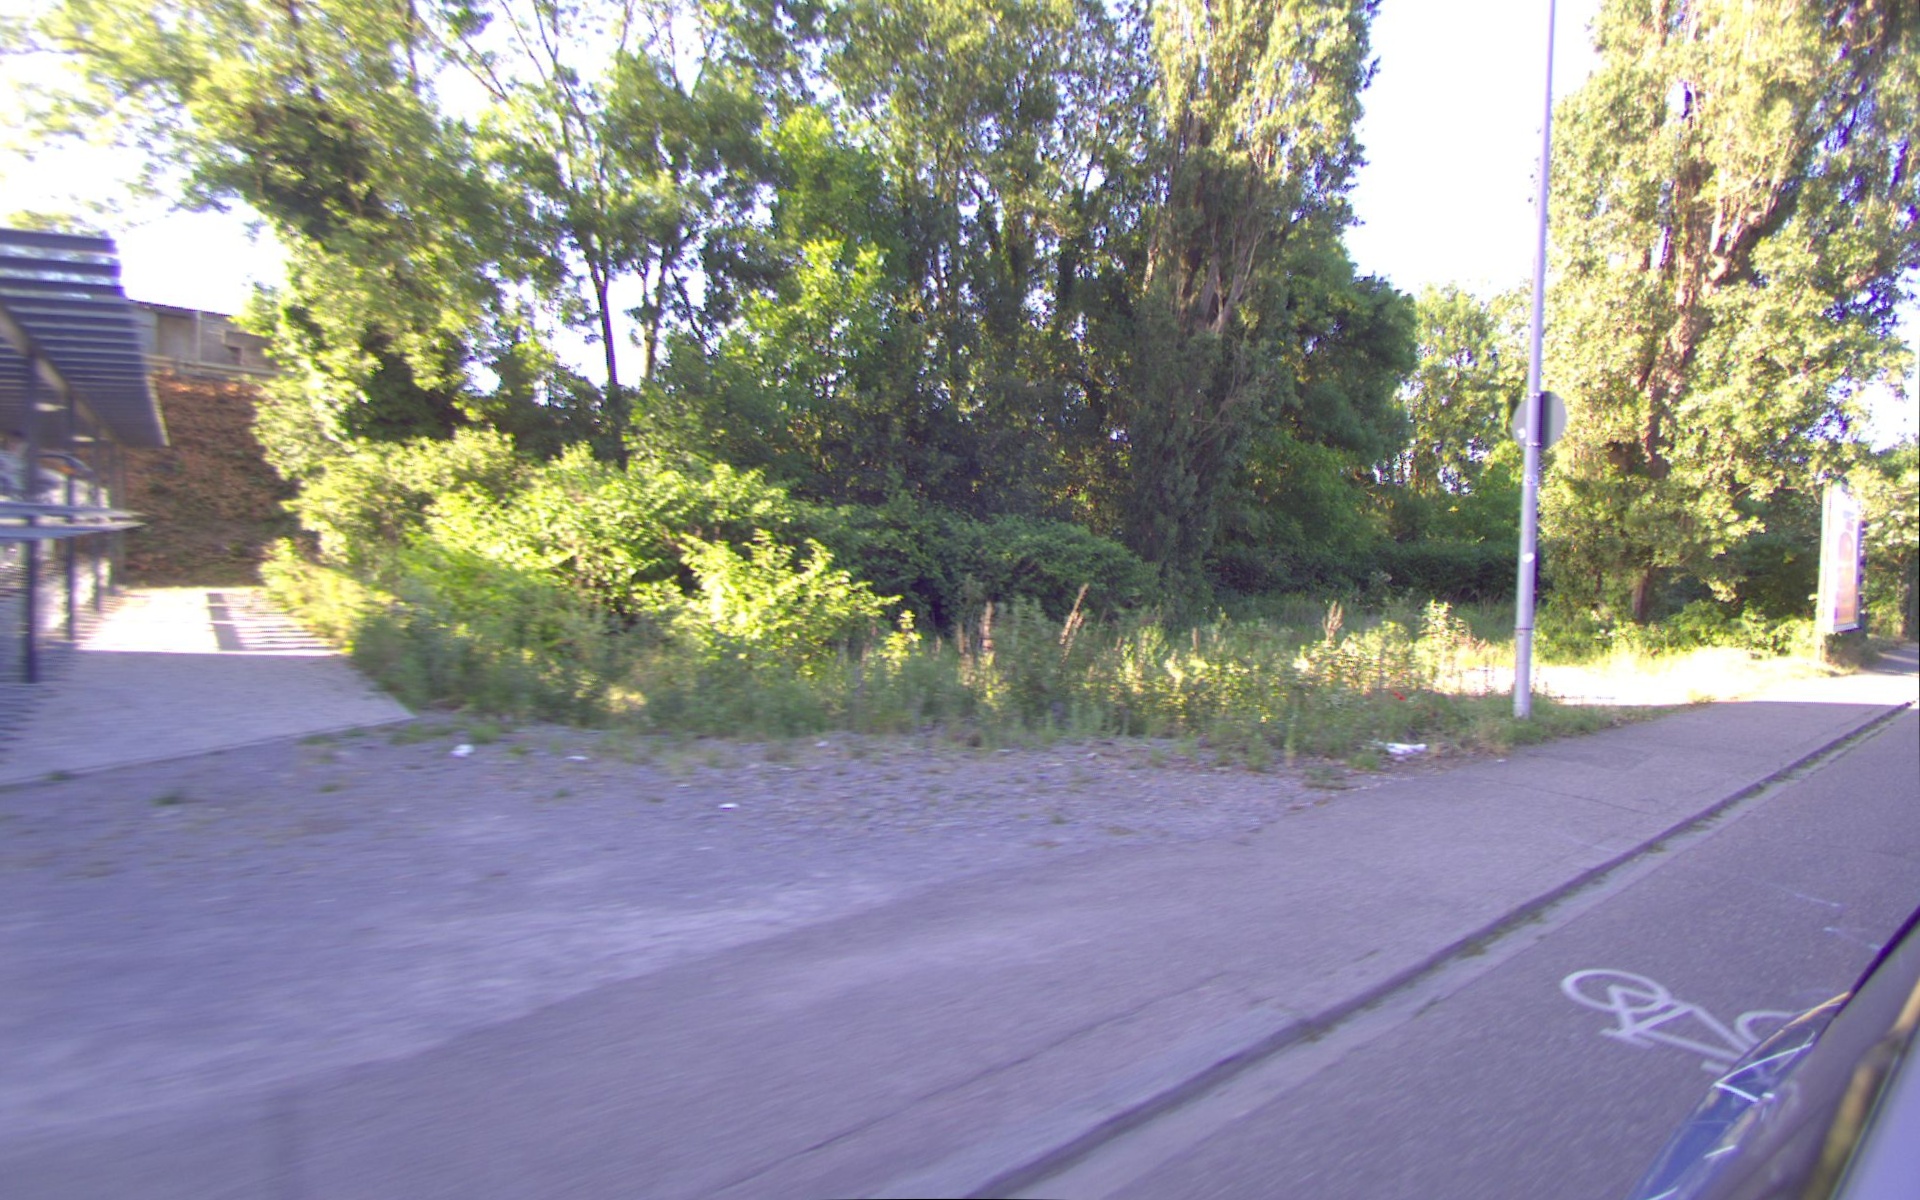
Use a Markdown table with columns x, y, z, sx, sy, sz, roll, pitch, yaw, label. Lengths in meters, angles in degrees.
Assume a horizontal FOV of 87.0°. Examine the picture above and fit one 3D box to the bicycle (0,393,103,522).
| x | y | z | sx | sy | sz | roll | pitch | yaw | label |
| --- | --- | --- | --- | --- | --- | --- | --- | --- | --- |
| -10.519 | -1.547 | 10.893 | 1.955 | 1.337 | 0.632 | -1 | 3 | -41 | bicycle |
